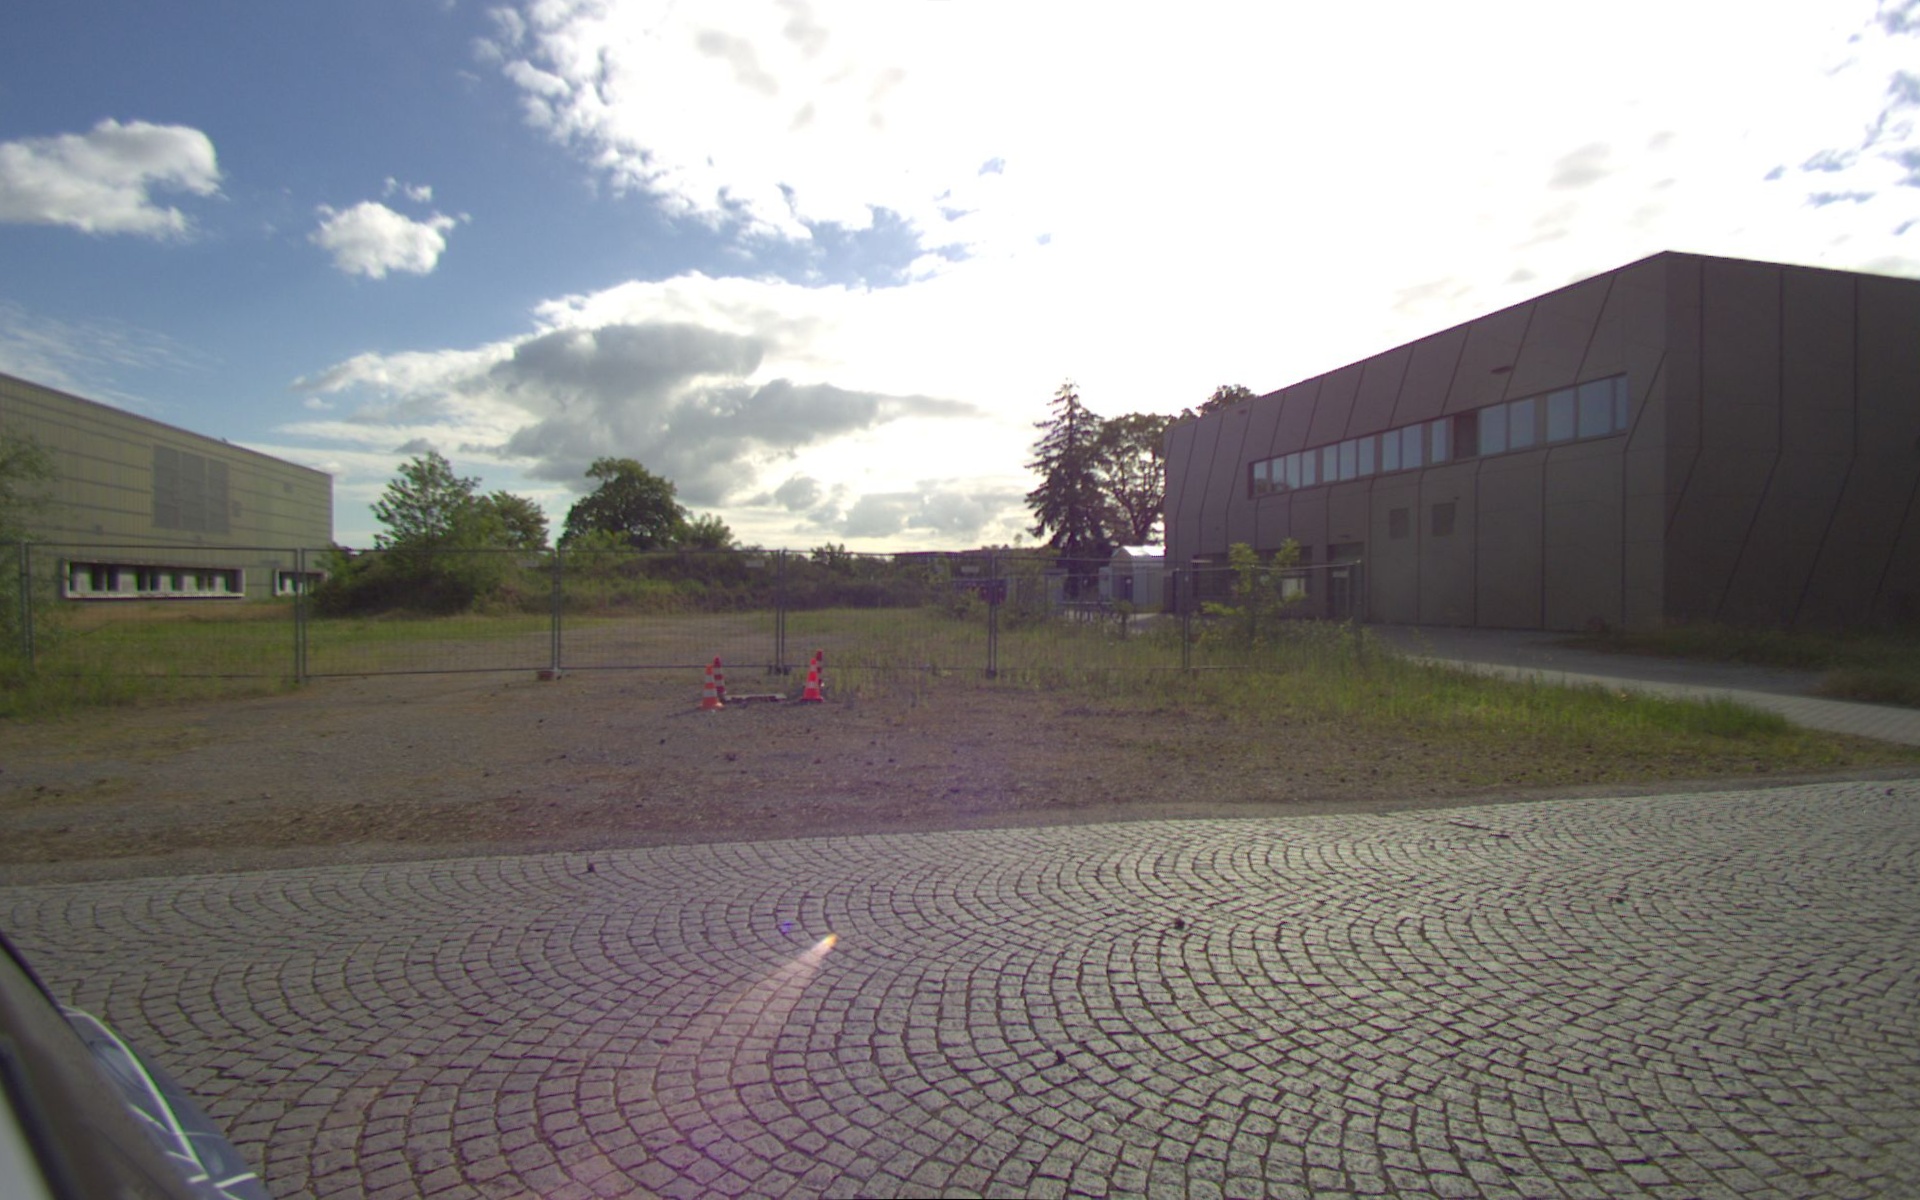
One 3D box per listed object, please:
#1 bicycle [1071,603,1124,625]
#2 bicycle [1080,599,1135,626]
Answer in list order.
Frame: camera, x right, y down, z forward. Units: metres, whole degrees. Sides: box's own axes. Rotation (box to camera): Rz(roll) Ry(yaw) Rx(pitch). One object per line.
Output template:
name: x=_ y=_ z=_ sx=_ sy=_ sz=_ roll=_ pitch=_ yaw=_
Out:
bicycle: x=5.889 y=0.583 z=43.308 sx=2.034 sy=0.928 sz=0.949 roll=0 pitch=0 yaw=-15
bicycle: x=6.141 y=0.507 z=42.076 sx=2.034 sy=1.095 sz=0.949 roll=0 pitch=0 yaw=-15
